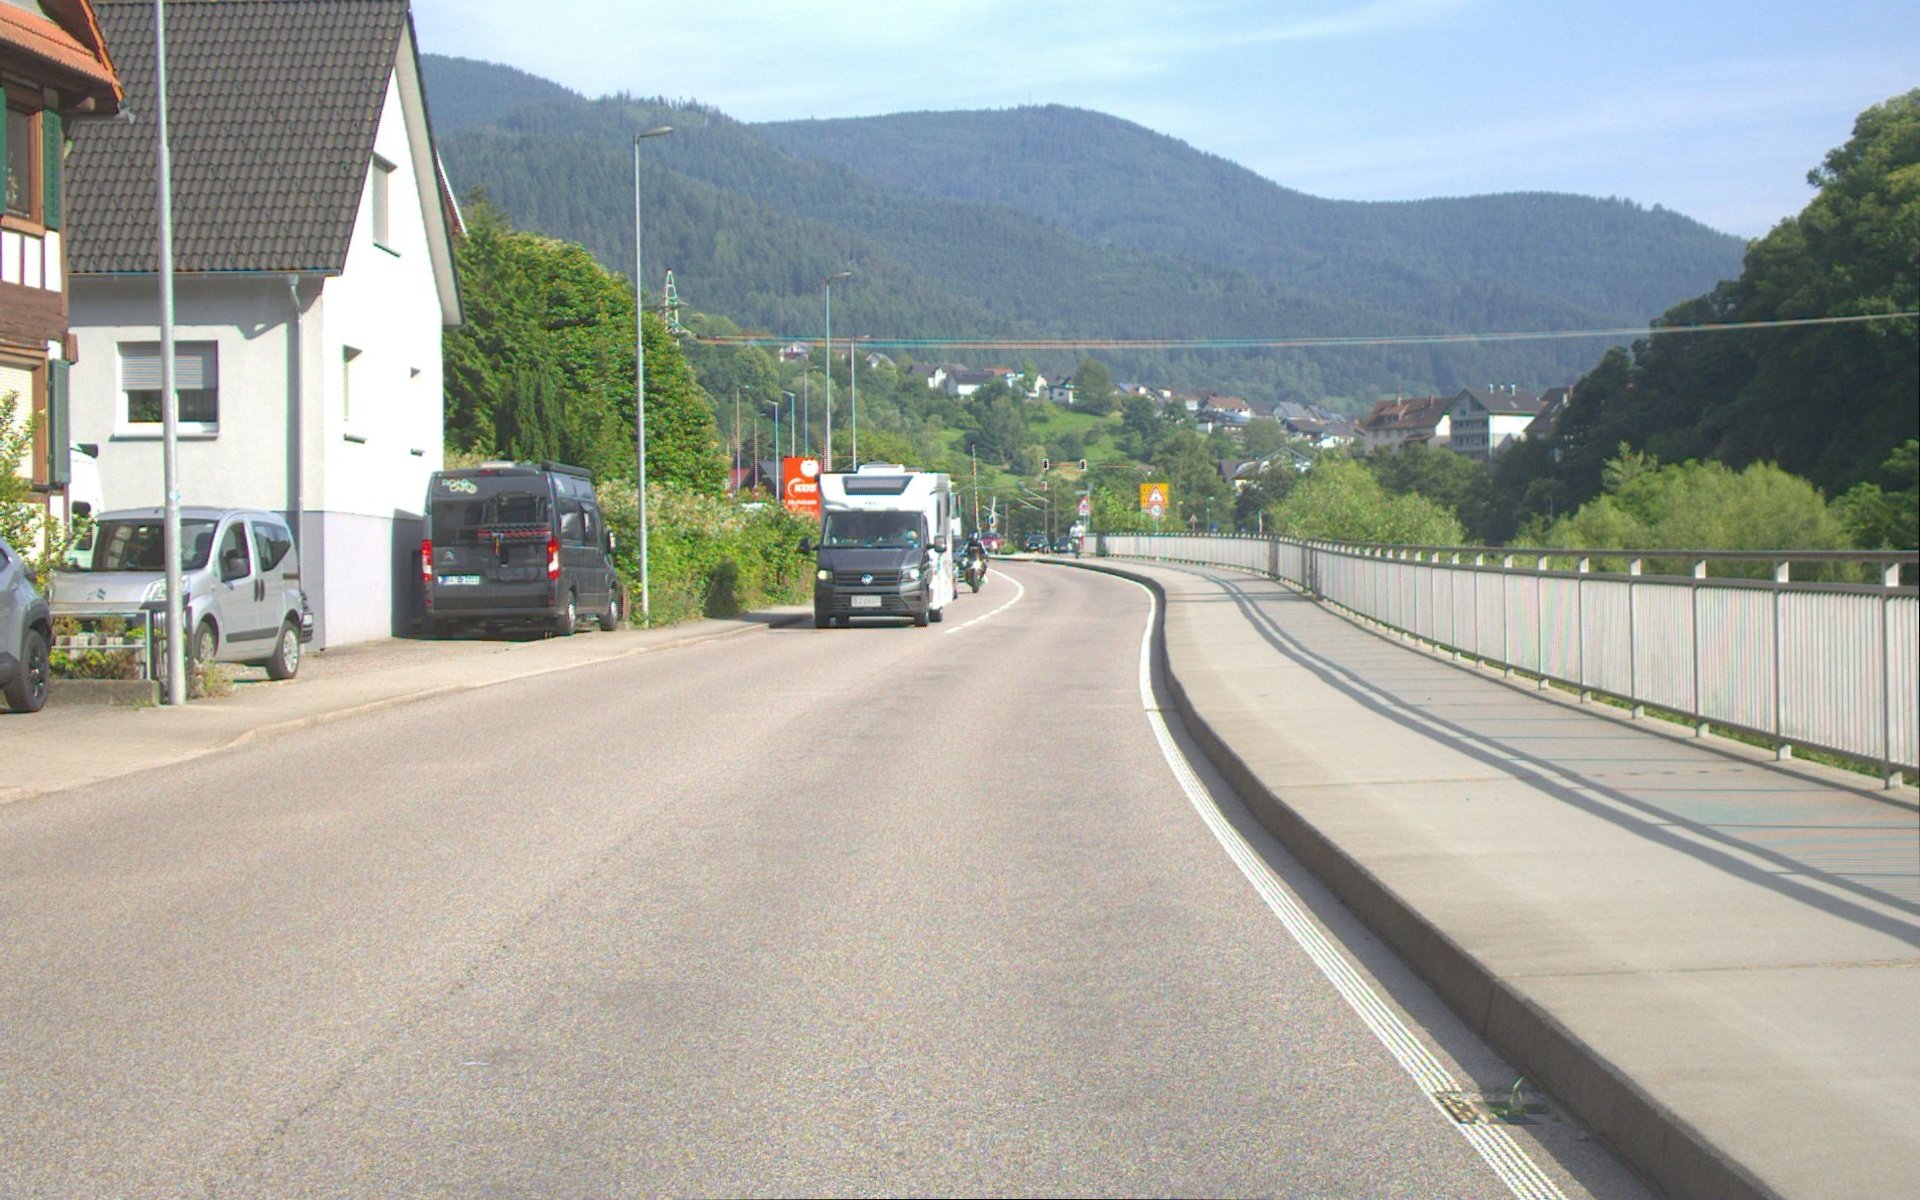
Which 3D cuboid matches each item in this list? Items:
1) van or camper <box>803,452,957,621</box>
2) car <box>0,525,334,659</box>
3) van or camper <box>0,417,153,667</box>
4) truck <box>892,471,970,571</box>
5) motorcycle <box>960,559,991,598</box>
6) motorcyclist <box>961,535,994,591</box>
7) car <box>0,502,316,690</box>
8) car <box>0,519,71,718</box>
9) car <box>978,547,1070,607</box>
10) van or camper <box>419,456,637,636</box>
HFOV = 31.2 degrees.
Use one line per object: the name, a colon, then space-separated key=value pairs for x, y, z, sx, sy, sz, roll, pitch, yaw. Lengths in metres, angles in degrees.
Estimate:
van or camper: x=-1.405 y=-1.181 z=63.466 sx=2.195 sy=2.928 sz=7.126 roll=1 pitch=1 yaw=4
car: x=-10.125 y=-0.119 z=43.616 sx=3.918 sy=1.544 sz=1.907 roll=2 pitch=1 yaw=3
van or camper: x=-11.863 y=-0.683 z=38.130 sx=5.178 sy=2.654 sz=2.191 roll=1 pitch=1 yaw=10
truck: x=-1.266 y=-3.246 z=142.967 sx=2.578 sy=3.918 sz=11.307 roll=-1 pitch=1 yaw=-3
motorcycle: x=0.449 y=-0.606 z=95.975 sx=0.654 sy=1.064 sz=2.181 roll=0 pitch=1 yaw=6
motorcyclist: x=0.485 y=-1.019 z=95.647 sx=0.826 sy=1.553 sz=0.628 roll=0 pitch=0 yaw=7
car: x=-7.713 y=-0.066 z=32.807 sx=1.901 sy=1.659 sz=4.266 roll=1 pitch=1 yaw=6
car: x=-8.270 y=0.169 z=25.988 sx=1.884 sy=1.514 sz=4.094 roll=-1 pitch=1 yaw=2
car: x=1.661 y=-0.597 z=87.876 sx=1.631 sy=1.480 sz=3.998 roll=1 pitch=1 yaw=12
van or camper: x=-6.428 y=-0.816 z=51.916 sx=2.148 sy=2.546 sz=5.901 roll=0 pitch=1 yaw=4
